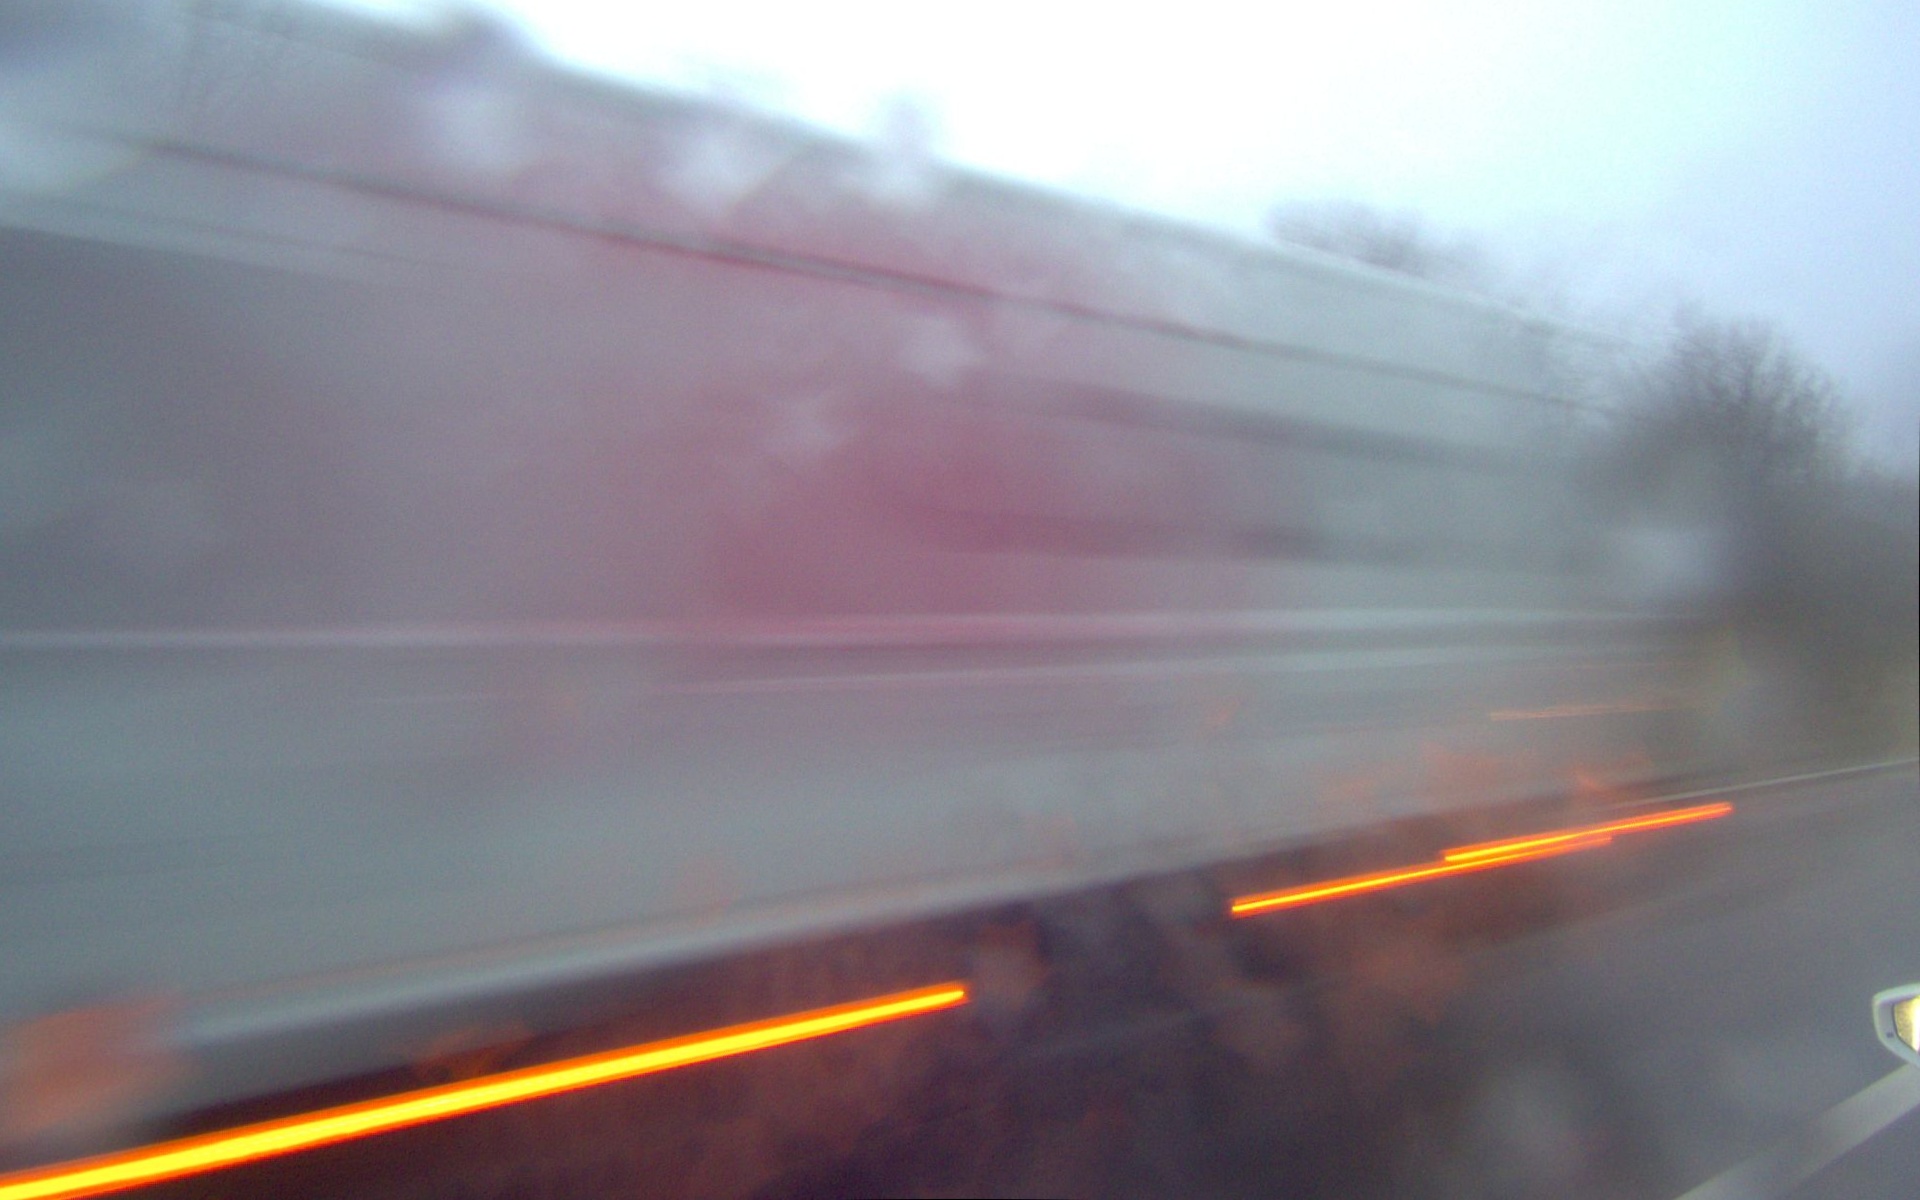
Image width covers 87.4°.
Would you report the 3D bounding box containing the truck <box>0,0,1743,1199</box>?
[{"bbox_3d":[-0.485,0.038,2.984,6.792,2.808,2.092,1,0,-31],"label":"truck"}]
